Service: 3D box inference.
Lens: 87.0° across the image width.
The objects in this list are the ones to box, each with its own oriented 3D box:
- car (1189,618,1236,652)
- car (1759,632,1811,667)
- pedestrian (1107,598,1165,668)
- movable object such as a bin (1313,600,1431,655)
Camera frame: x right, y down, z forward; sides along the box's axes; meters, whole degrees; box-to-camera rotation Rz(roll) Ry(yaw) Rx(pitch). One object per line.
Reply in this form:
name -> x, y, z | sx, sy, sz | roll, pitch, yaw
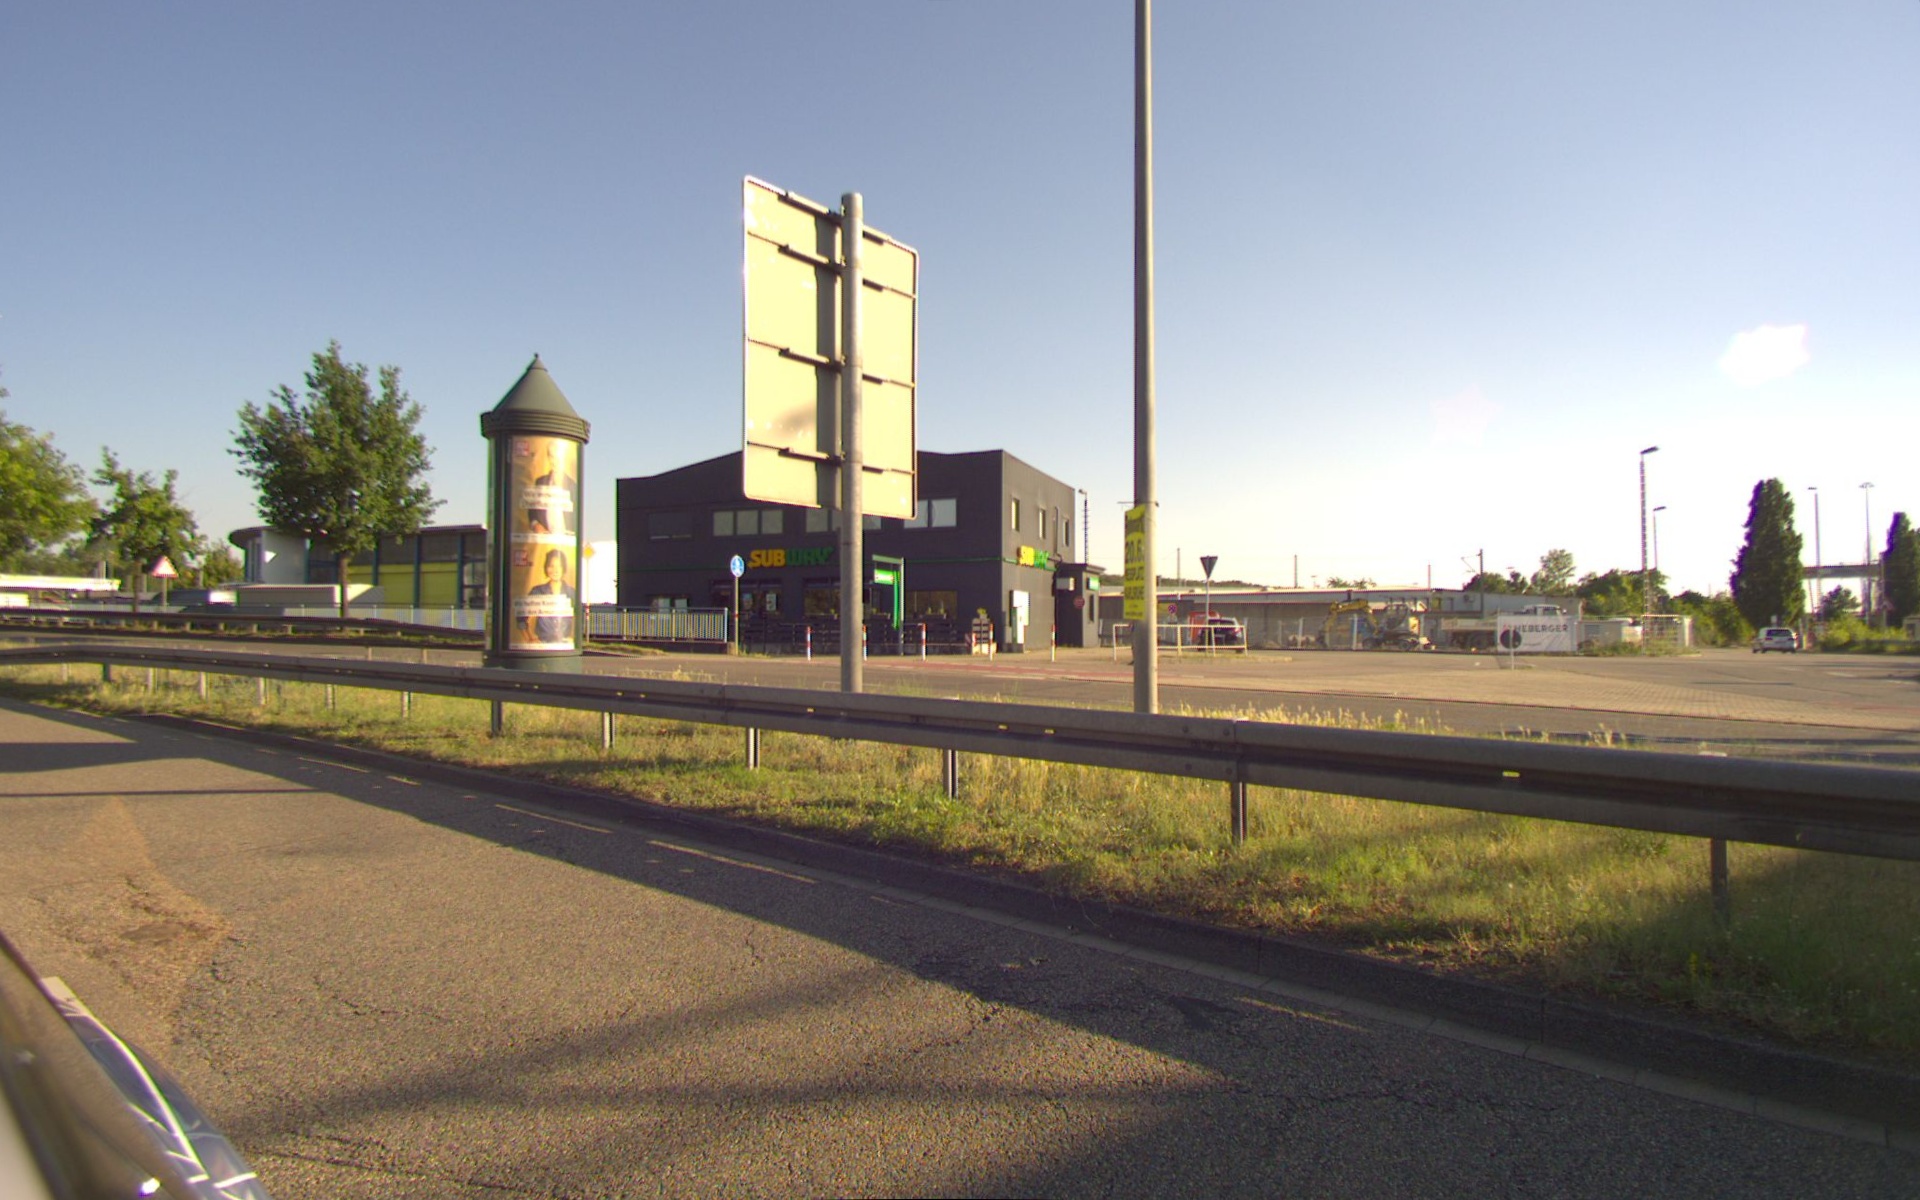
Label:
car -> 15.997, 2.191, 64.093 | 1.991, 2.029, 3.962 | -1, 0, 28
car -> 52.739, 3.154, 64.767 | 1.993, 2.029, 3.958 | -1, 0, 31
pedestrian -> 4.863, 0.884, 27.939 | 1.085, 1.849, 1.258 | -1, 0, 42
movable object such as a bin -> 25.336, 1.653, 62.391 | 6.587, 3.241, 2.428 | -1, 0, 23
